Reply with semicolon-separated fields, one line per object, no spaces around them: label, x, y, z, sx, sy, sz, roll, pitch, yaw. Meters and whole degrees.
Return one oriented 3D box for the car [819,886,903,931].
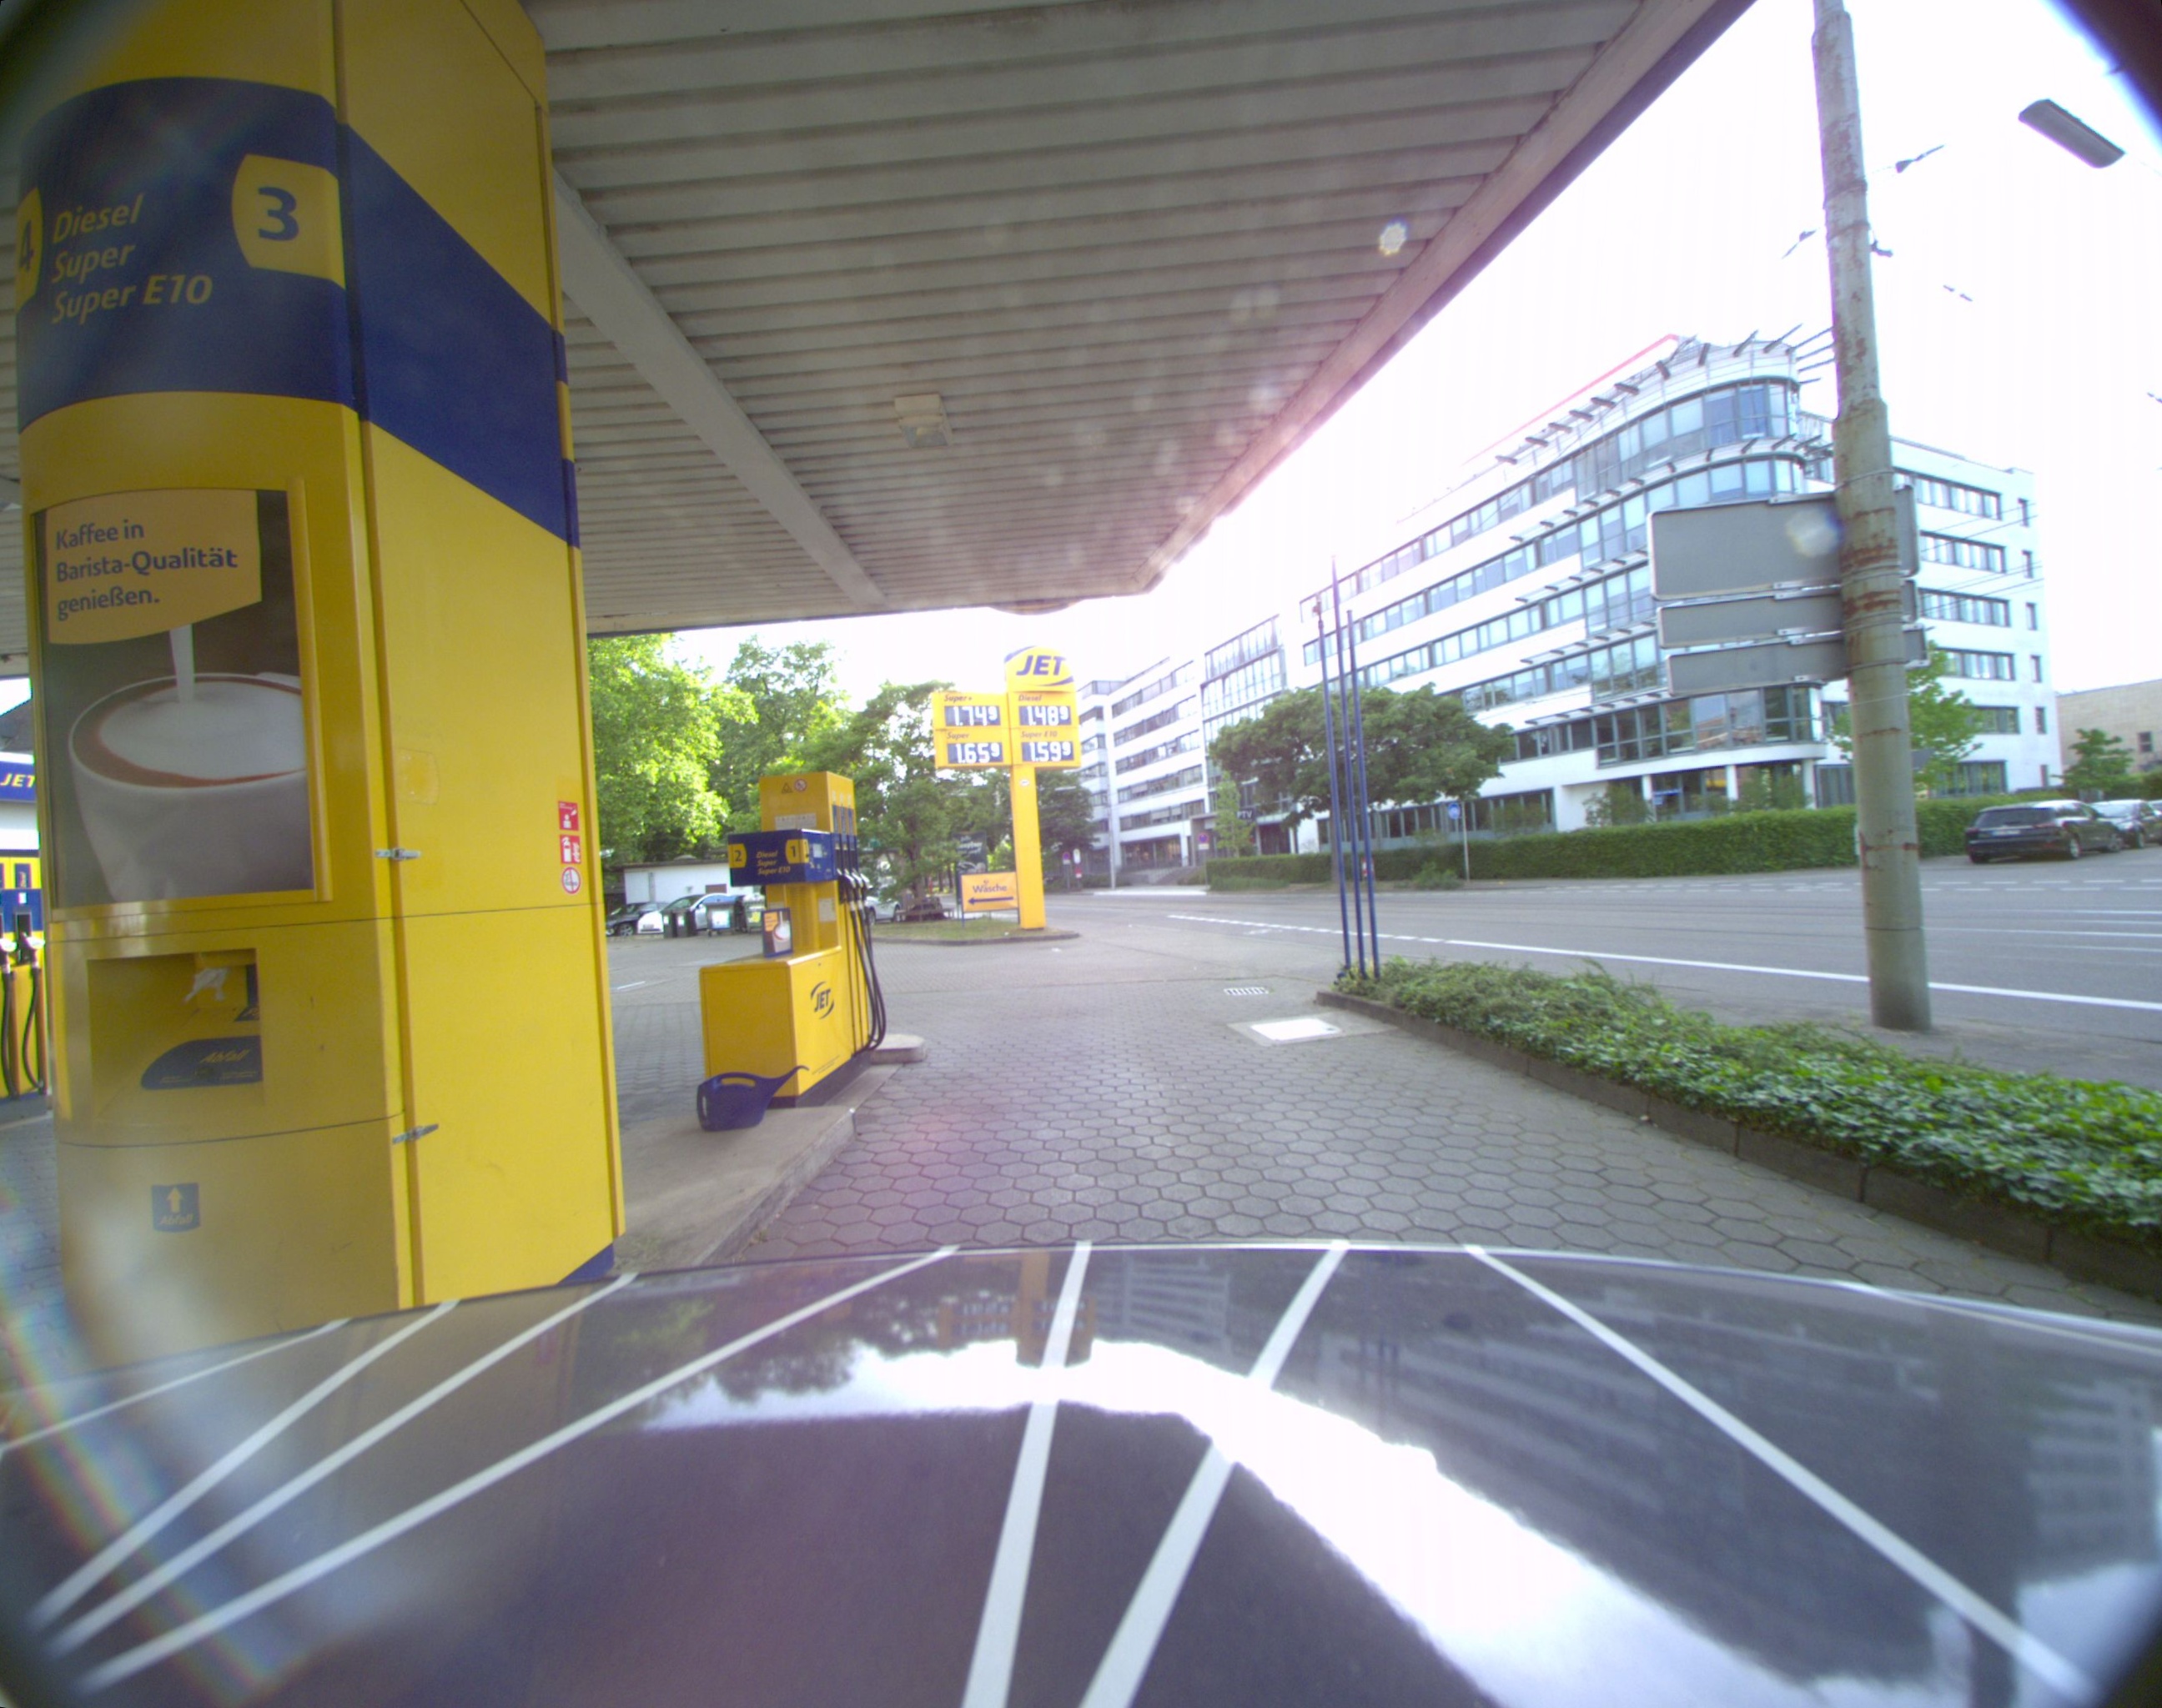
car;-8.694;2.120;30.380;1.739;1.500;4.003;-4;-2;6

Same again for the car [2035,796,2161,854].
car;32.484;-0.936;24.039;4.109;1.544;1.786;-4;-1;-23

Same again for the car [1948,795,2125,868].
car;27.369;-0.644;21.768;4.438;1.603;1.976;-5;-1;-23

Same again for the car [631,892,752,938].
car;-15.367;2.387;30.254;1.785;1.514;4.229;-4;-3;17

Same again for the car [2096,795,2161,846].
car;37.144;-1.230;26.076;4.109;1.544;1.786;-4;-1;-23

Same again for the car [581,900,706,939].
car;-17.753;2.635;31.070;1.745;1.269;4.230;-5;-3;19

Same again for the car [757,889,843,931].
car;-11.809;2.326;32.242;1.739;1.500;4.004;-4;-2;6
